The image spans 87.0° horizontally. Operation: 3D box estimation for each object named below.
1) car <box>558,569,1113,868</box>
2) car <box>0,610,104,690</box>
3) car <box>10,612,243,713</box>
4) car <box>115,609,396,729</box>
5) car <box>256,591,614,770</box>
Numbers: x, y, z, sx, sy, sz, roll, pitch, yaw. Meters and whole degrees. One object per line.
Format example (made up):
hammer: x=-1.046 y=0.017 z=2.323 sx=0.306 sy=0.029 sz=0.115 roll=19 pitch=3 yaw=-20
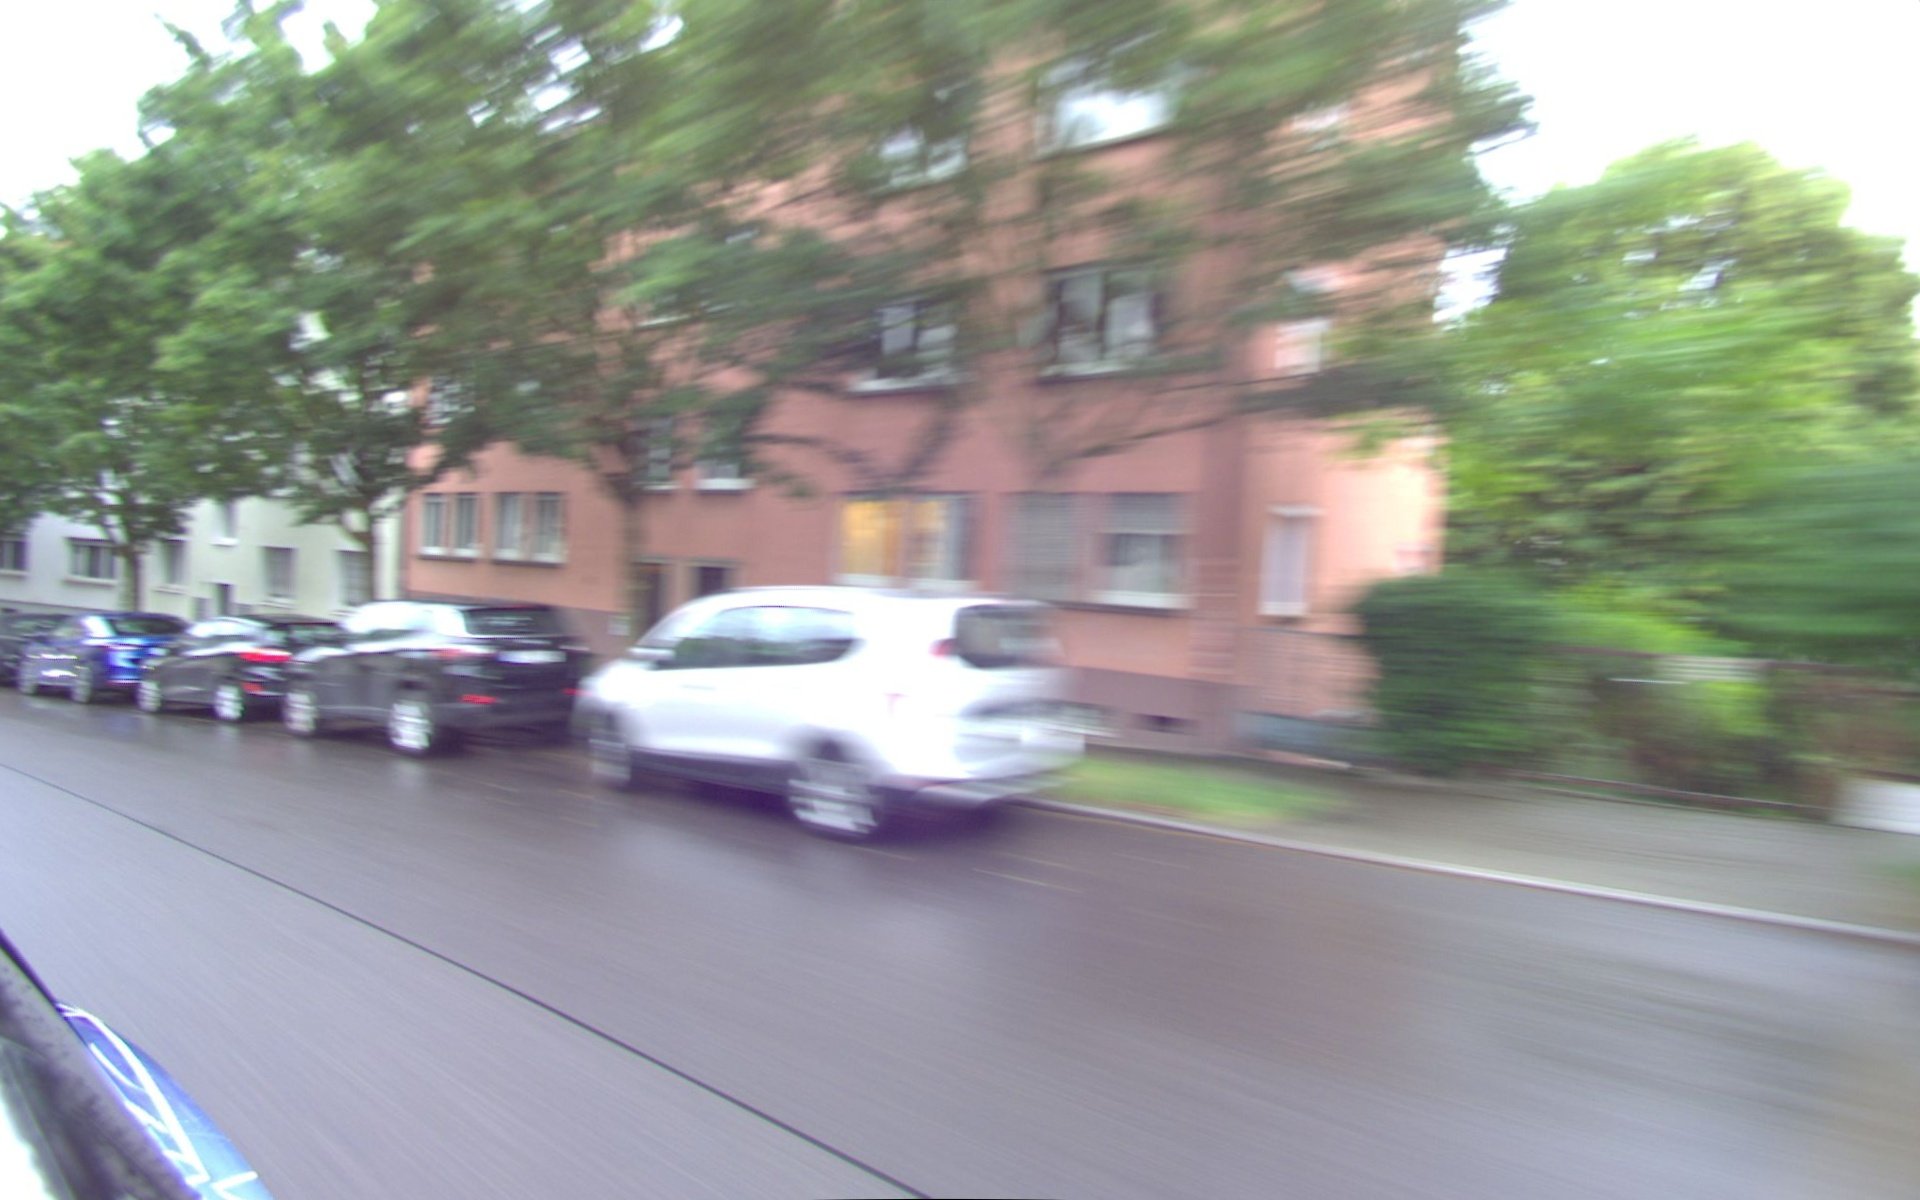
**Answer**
car: x=-1.213 y=0.702 z=7.960 sx=4.598 sy=1.703 sz=1.728 roll=-1 pitch=-1 yaw=41
car: x=-19.628 y=0.963 z=20.738 sx=4.342 sy=1.504 sz=1.775 roll=0 pitch=-1 yaw=29
car: x=-14.292 y=0.959 z=17.267 sx=4.849 sy=1.504 sz=1.772 roll=0 pitch=-1 yaw=34
car: x=-10.225 y=0.891 z=14.603 sx=4.347 sy=1.504 sz=1.773 roll=0 pitch=-1 yaw=32
car: x=-6.058 y=0.756 z=11.473 sx=4.471 sy=1.653 sz=1.771 roll=-1 pitch=1 yaw=36
